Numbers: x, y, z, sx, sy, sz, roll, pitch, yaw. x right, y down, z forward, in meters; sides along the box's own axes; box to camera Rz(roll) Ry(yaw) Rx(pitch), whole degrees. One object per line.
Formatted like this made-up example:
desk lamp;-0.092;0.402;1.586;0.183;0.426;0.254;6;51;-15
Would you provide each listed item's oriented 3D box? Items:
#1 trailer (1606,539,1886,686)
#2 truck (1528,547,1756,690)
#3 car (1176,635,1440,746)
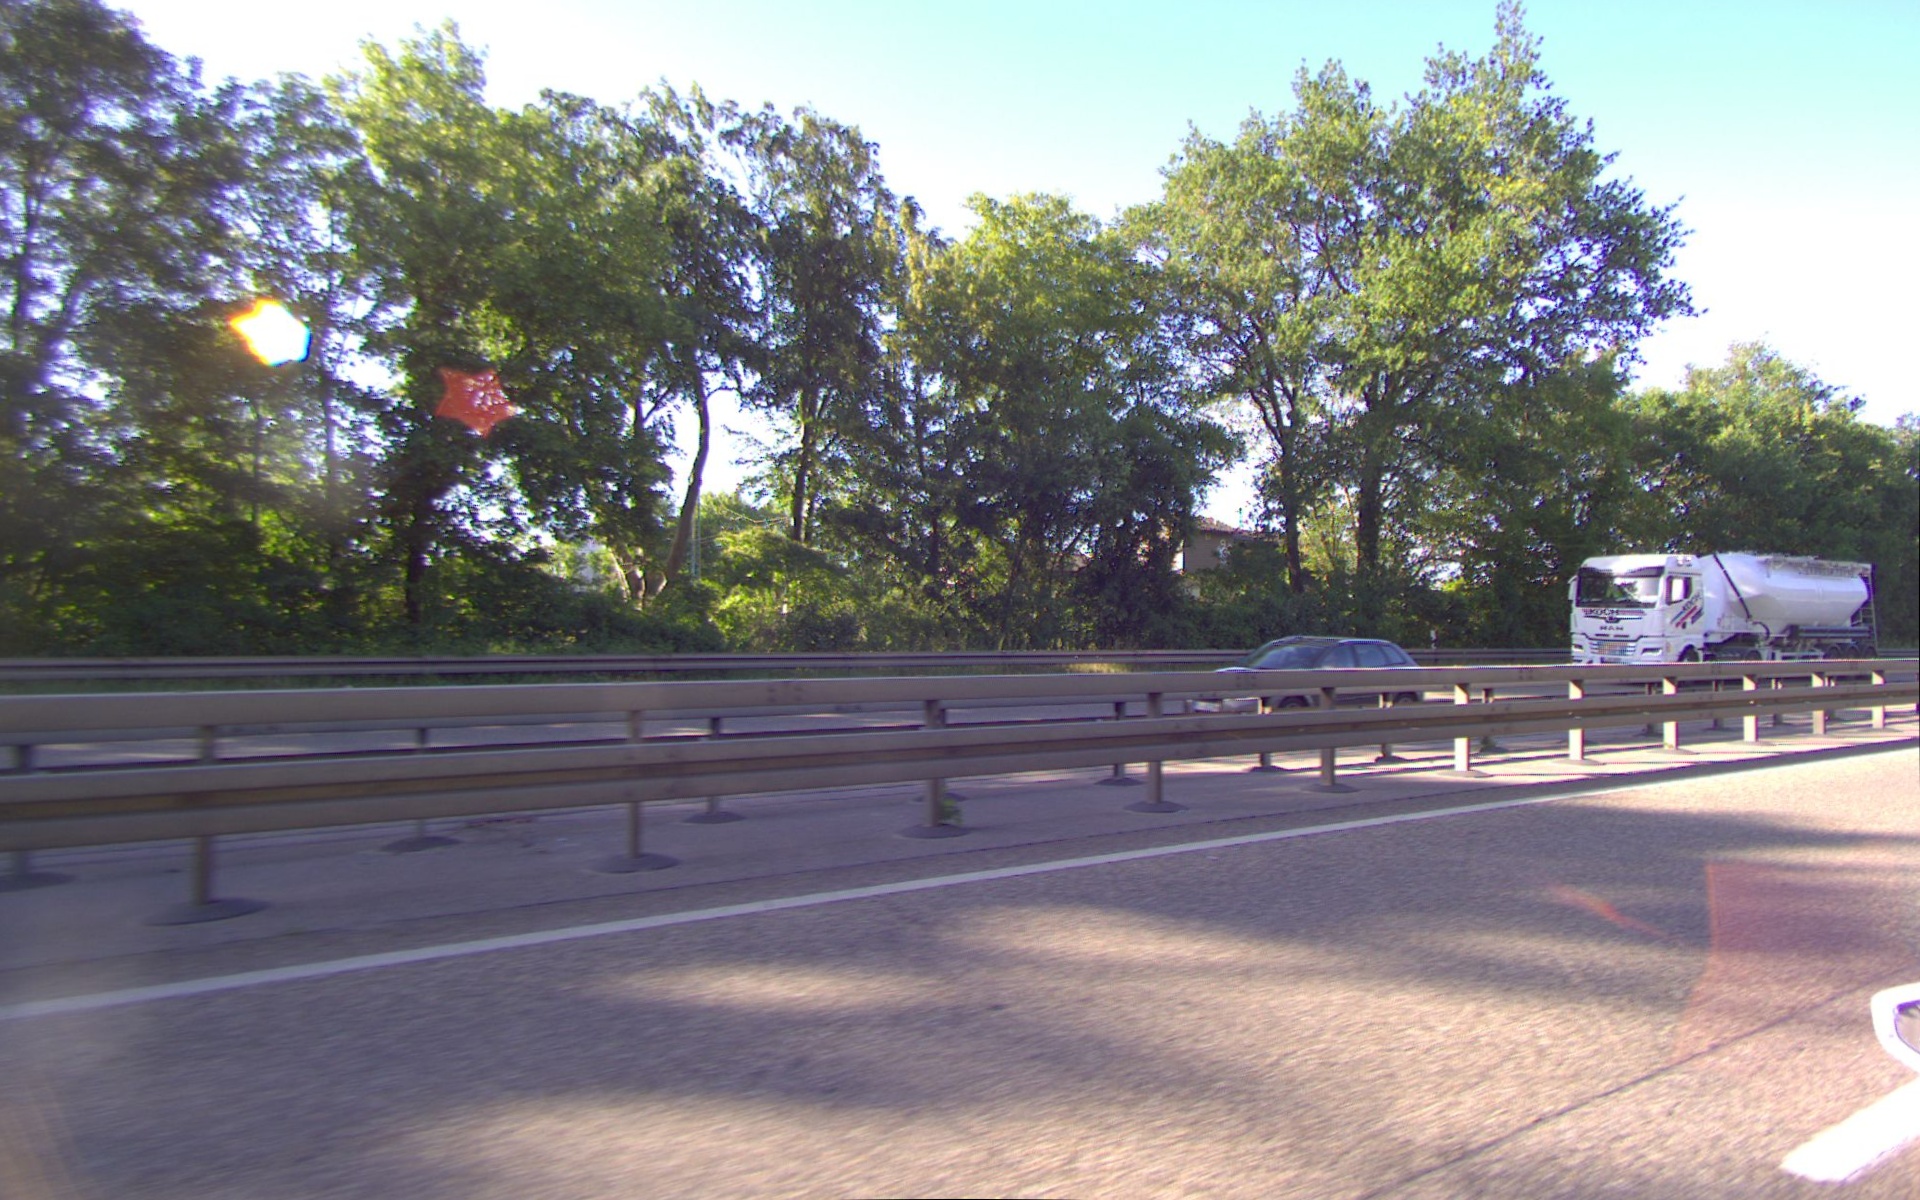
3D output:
trailer;25.033;0.477;31.766;10.838;4.050;3.040;1;-1;-29
truck;19.522;0.560;28.725;6.079;3.678;2.969;1;-1;-28
car;5.411;1.308;15.487;4.045;1.486;1.658;1;-1;-31
